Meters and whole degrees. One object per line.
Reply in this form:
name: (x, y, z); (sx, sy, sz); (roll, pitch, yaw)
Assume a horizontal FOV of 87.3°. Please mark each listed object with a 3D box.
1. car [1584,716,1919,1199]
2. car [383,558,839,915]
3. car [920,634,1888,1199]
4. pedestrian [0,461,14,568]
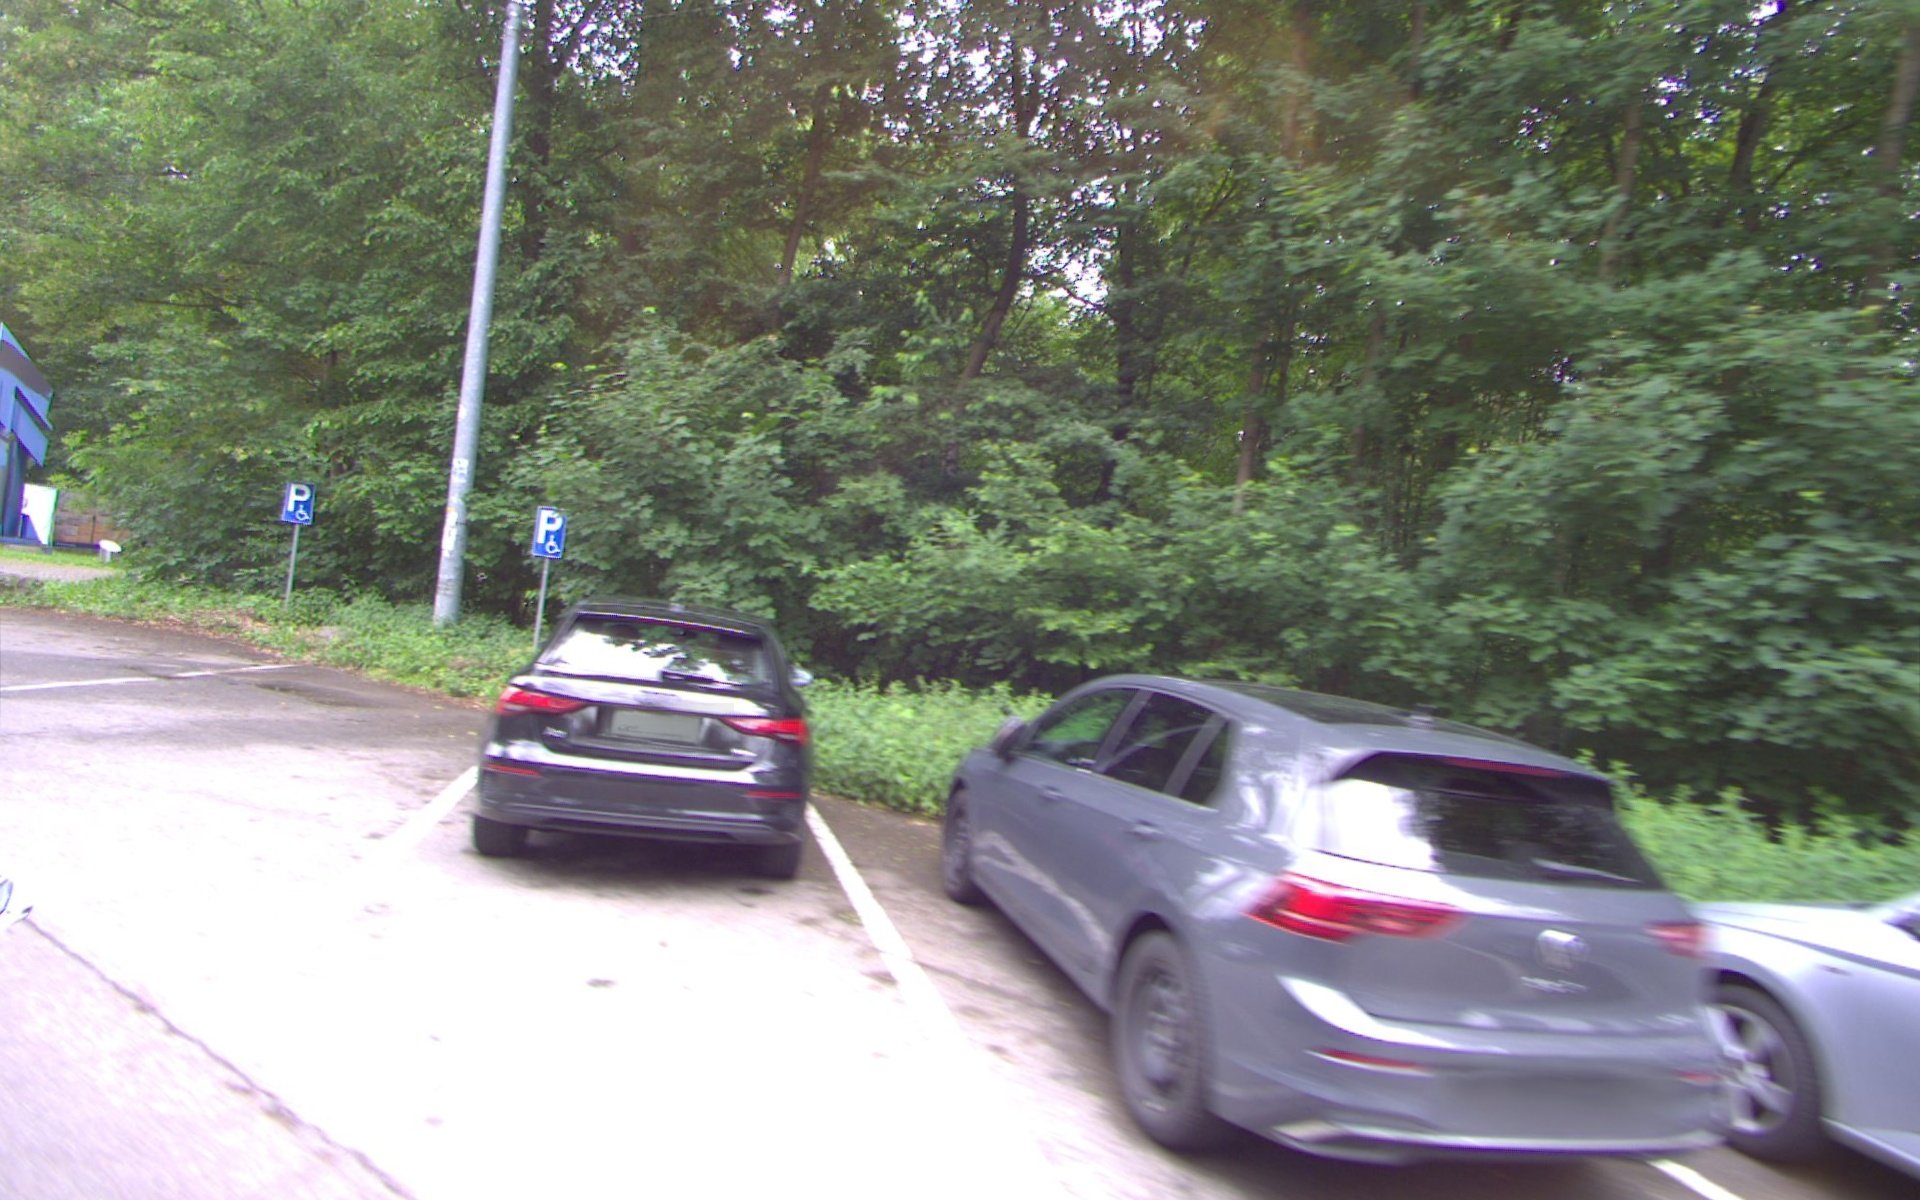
car: (4.034, 1.376, 2.599); (1.804, 1.484, 3.994); (8, -1, -9)
car: (-2.047, 0.681, 6.770); (1.869, 1.479, 4.196); (8, -2, -13)
car: (1.214, 1.065, 4.604); (1.880, 1.439, 3.990); (8, -2, -14)
pedestrian: (-7.551, -0.210, 7.221); (0.882, 1.745, 0.763); (7, -1, 33)
